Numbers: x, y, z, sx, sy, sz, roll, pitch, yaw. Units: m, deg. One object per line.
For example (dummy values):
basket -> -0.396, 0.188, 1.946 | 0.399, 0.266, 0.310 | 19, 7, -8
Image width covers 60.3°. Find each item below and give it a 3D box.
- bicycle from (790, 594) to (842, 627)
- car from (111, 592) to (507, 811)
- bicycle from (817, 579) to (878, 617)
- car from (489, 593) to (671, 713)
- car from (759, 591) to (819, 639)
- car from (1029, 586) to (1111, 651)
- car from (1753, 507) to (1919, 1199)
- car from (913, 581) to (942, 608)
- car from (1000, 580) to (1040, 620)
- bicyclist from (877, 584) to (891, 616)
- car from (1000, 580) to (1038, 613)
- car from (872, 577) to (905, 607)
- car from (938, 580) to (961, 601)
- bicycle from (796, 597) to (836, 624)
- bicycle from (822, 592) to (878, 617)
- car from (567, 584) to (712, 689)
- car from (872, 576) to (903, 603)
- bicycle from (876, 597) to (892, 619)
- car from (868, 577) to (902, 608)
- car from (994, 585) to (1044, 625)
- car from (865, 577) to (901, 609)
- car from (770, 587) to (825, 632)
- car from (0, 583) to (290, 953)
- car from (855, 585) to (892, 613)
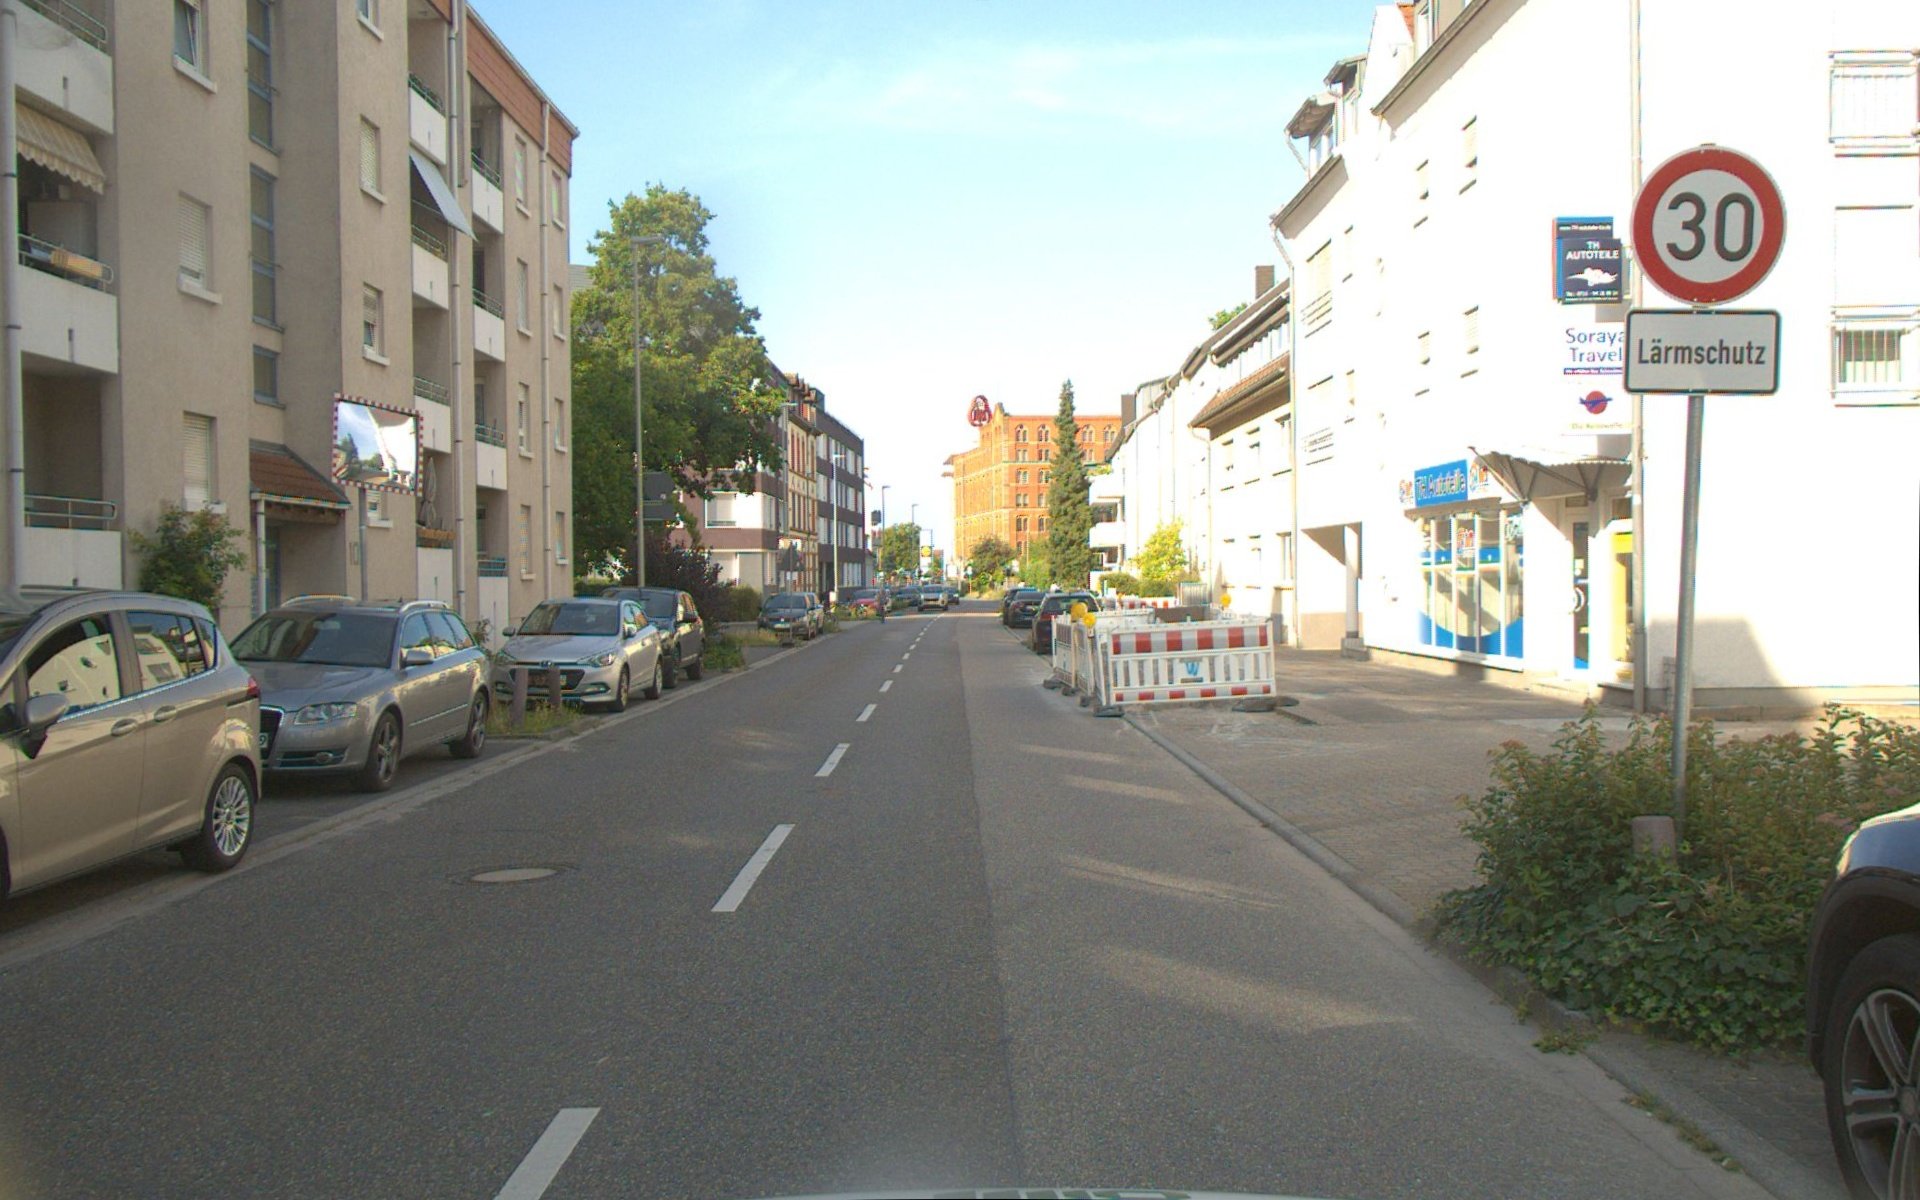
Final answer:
bicycle -> -5.624, 0.401, 64.587 | 1.962, 1.238, 0.707 | -1, 0, -6
car -> -5.306, 0.719, 14.154 | 1.771, 1.547, 4.369 | 0, 1, -2
bicycle -> -5.547, -0.119, 81.421 | 2.858, 1.808, 1.202 | -1, 0, 1
car -> -5.157, 0.656, 22.943 | 1.652, 1.480, 4.140 | 0, 1, -1
car -> -5.419, 0.461, 52.795 | 1.541, 1.445, 3.803 | 0, 1, -1
car -> 2.718, 0.425, 41.587 | 1.792, 1.508, 3.943 | -2, 1, 1
car -> 3.001, 0.618, 2.134 | 1.792, 1.658, 4.463 | -1, 0, 0
car -> -2.048, -0.387, 105.479 | 1.727, 1.644, 4.000 | -2, 1, 0
car -> 2.548, -0.009, 71.239 | 1.569, 1.674, 3.685 | 0, 1, 0
bicyclist -> -3.516, 0.016, 76.376 | 0.578, 1.467, 0.750 | -1, 0, 0
car -> 2.960, -0.181, 83.279 | 1.727, 1.552, 4.000 | -2, 1, 0
car -> -4.764, -0.541, 111.108 | 1.952, 1.940, 4.001 | -1, 0, 1
car -> -0.847, -0.755, 133.590 | 1.727, 1.644, 4.000 | -2, 1, 0
bicycle -> -5.762, 0.429, 66.177 | 1.554, 1.059, 0.707 | -1, 0, -6
bicycle -> -5.537, 0.233, 83.195 | 2.716, 1.164, 1.143 | -1, 0, 1
car -> -5.350, 0.555, 28.137 | 1.651, 1.631, 4.369 | 0, 1, -1
car -> -5.150, -0.757, 117.520 | 1.952, 1.914, 4.000 | -1, 1, 0
bicycle -> -3.512, 0.353, 76.335 | 0.596, 0.959, 1.811 | -1, 1, 1
car -> -4.845, -0.477, 107.030 | 1.952, 1.945, 3.690 | -1, 0, 1
car -> 2.327, 0.175, 65.972 | 1.821, 1.497, 4.000 | -1, 0, -1
car -> -4.699, -0.441, 101.913 | 1.952, 1.867, 3.690 | -1, 0, 1
car -> -5.694, 0.309, 58.447 | 1.642, 1.528, 3.999 | -1, 1, -2
car -> -4.956, 0.713, 8.049 | 1.691, 1.582, 3.966 | 1, 0, 1
car -> -4.728, -0.083, 91.056 | 1.802, 1.489, 3.585 | -1, 1, 0
